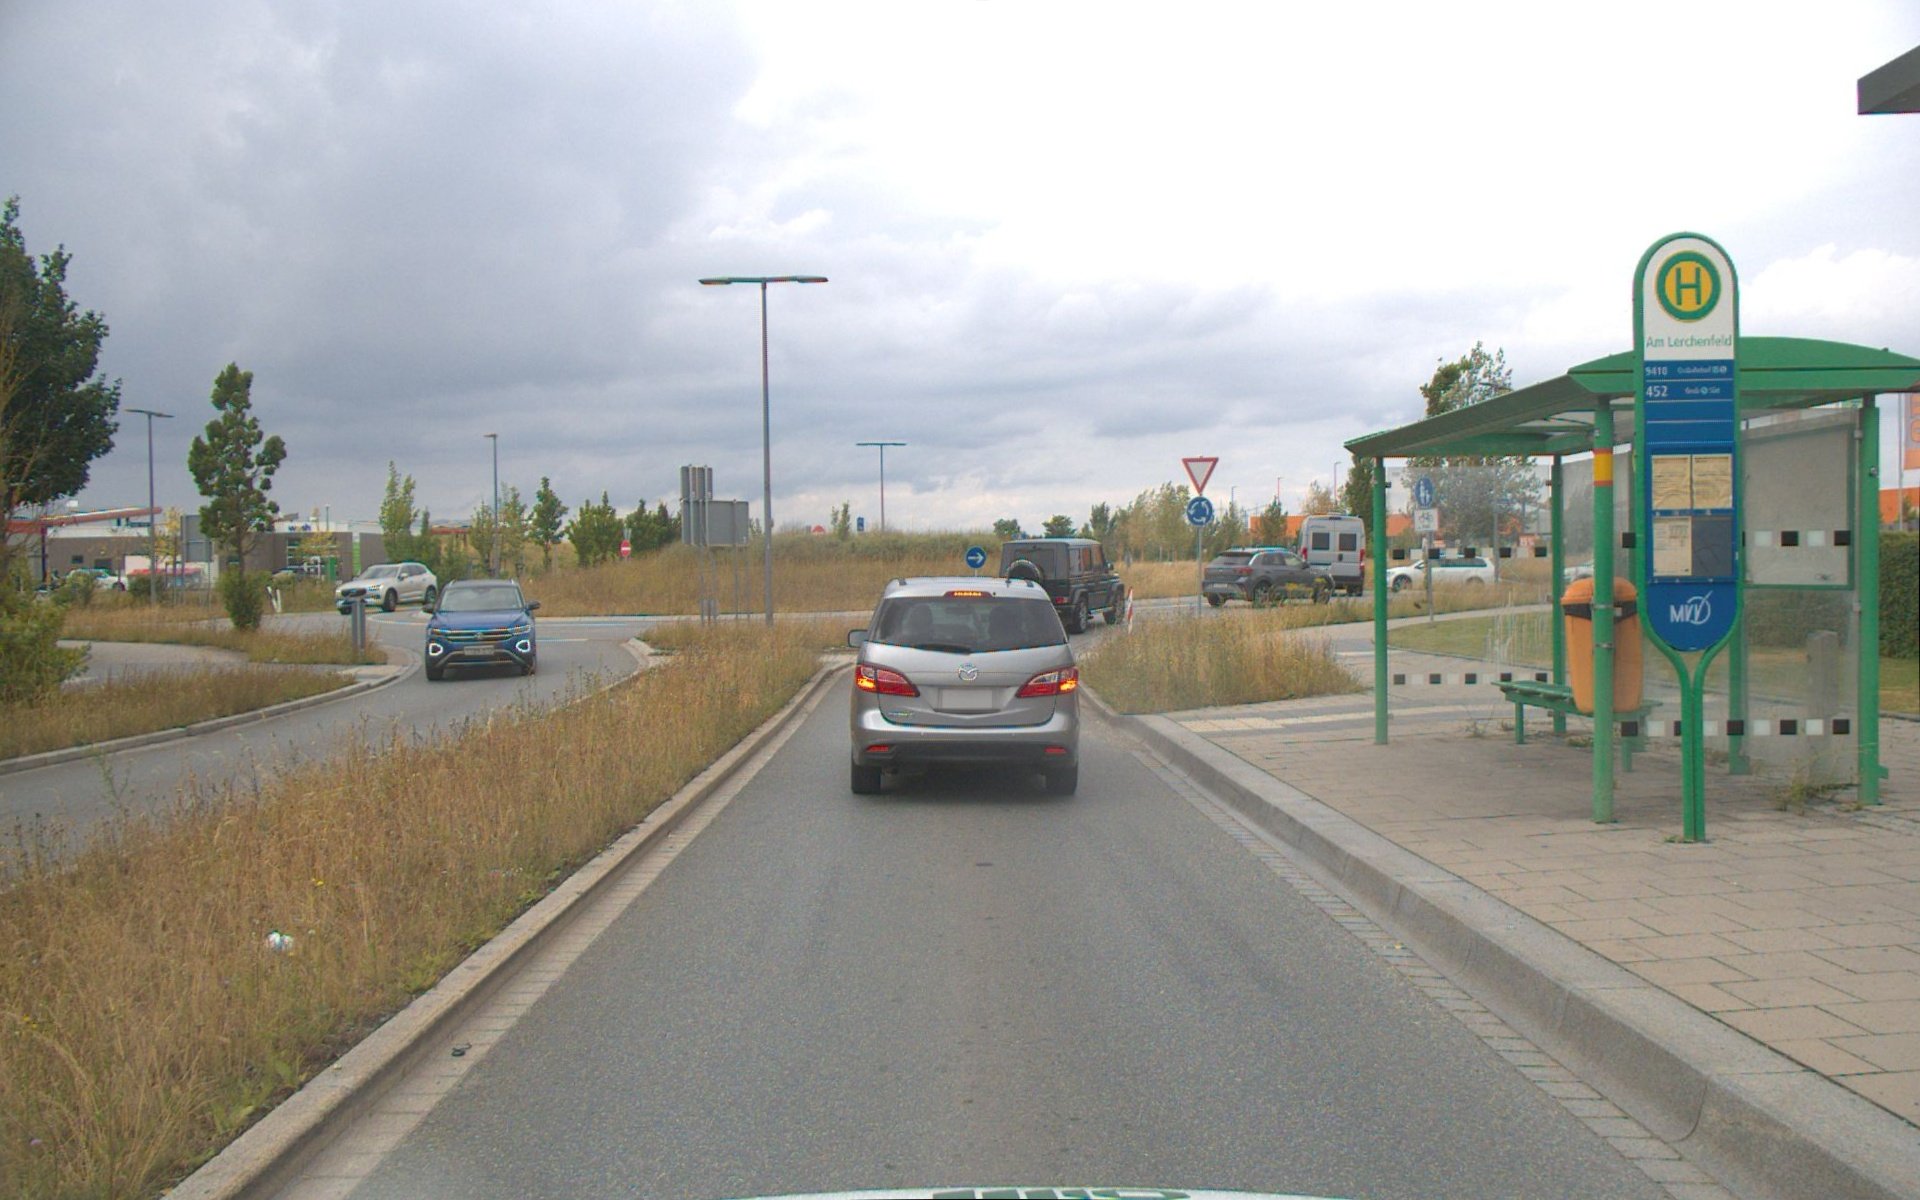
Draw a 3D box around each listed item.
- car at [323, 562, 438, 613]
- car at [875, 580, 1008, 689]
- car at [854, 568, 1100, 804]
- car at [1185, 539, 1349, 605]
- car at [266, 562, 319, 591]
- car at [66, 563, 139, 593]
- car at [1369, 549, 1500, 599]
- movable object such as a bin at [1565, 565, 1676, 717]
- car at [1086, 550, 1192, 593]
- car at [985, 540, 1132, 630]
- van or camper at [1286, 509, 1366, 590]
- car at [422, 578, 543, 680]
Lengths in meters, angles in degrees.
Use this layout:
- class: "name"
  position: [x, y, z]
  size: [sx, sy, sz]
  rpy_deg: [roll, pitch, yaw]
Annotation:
- class: "car"
  position: [-20.145, -0.443, 57.703]
  size: [1.983, 1.720, 4.218]
  rpy_deg: [0, 1, 10]
- class: "car"
  position: [-0.224, 0.449, 24.903]
  size: [1.807, 1.443, 4.225]
  rpy_deg: [-1, 1, 1]
- class: "car"
  position: [0.060, 0.566, 13.390]
  size: [1.695, 1.628, 3.806]
  rpy_deg: [0, 1, -2]
- class: "car"
  position: [8.335, -0.761, 44.783]
  size: [4.154, 1.620, 2.040]
  rpy_deg: [-3, 2, -34]
- class: "car"
  position: [-45.206, -1.595, 112.043]
  size: [1.953, 1.892, 4.000]
  rpy_deg: [0, 1, 0]
- class: "car"
  position: [-58.418, -1.510, 112.688]
  size: [3.907, 2.049, 1.999]
  rpy_deg: [0, 1, -2]
- class: "car"
  position: [17.592, -0.972, 61.533]
  size: [4.503, 1.788, 2.002]
  rpy_deg: [0, 0, 10]
- class: "movable object such as a bin"
  position: [3.607, 0.219, 9.049]
  size: [0.446, 0.812, 0.380]
  rpy_deg: [-1, 0, -2]
- class: "car"
  position: [6.703, -1.065, 62.161]
  size: [1.974, 1.542, 3.957]
  rpy_deg: [-1, 1, -31]
- class: "car"
  position: [2.275, -0.333, 36.709]
  size: [2.015, 1.857, 4.788]
  rpy_deg: [0, 1, 19]
- class: "van or camper"
  position: [12.009, -1.627, 54.513]
  size: [2.253, 2.549, 5.211]
  rpy_deg: [0, 1, 9]
- class: "car"
  position: [-8.221, 0.466, 28.714]
  size: [1.811, 1.555, 4.211]
  rpy_deg: [-3, 0, -15]
